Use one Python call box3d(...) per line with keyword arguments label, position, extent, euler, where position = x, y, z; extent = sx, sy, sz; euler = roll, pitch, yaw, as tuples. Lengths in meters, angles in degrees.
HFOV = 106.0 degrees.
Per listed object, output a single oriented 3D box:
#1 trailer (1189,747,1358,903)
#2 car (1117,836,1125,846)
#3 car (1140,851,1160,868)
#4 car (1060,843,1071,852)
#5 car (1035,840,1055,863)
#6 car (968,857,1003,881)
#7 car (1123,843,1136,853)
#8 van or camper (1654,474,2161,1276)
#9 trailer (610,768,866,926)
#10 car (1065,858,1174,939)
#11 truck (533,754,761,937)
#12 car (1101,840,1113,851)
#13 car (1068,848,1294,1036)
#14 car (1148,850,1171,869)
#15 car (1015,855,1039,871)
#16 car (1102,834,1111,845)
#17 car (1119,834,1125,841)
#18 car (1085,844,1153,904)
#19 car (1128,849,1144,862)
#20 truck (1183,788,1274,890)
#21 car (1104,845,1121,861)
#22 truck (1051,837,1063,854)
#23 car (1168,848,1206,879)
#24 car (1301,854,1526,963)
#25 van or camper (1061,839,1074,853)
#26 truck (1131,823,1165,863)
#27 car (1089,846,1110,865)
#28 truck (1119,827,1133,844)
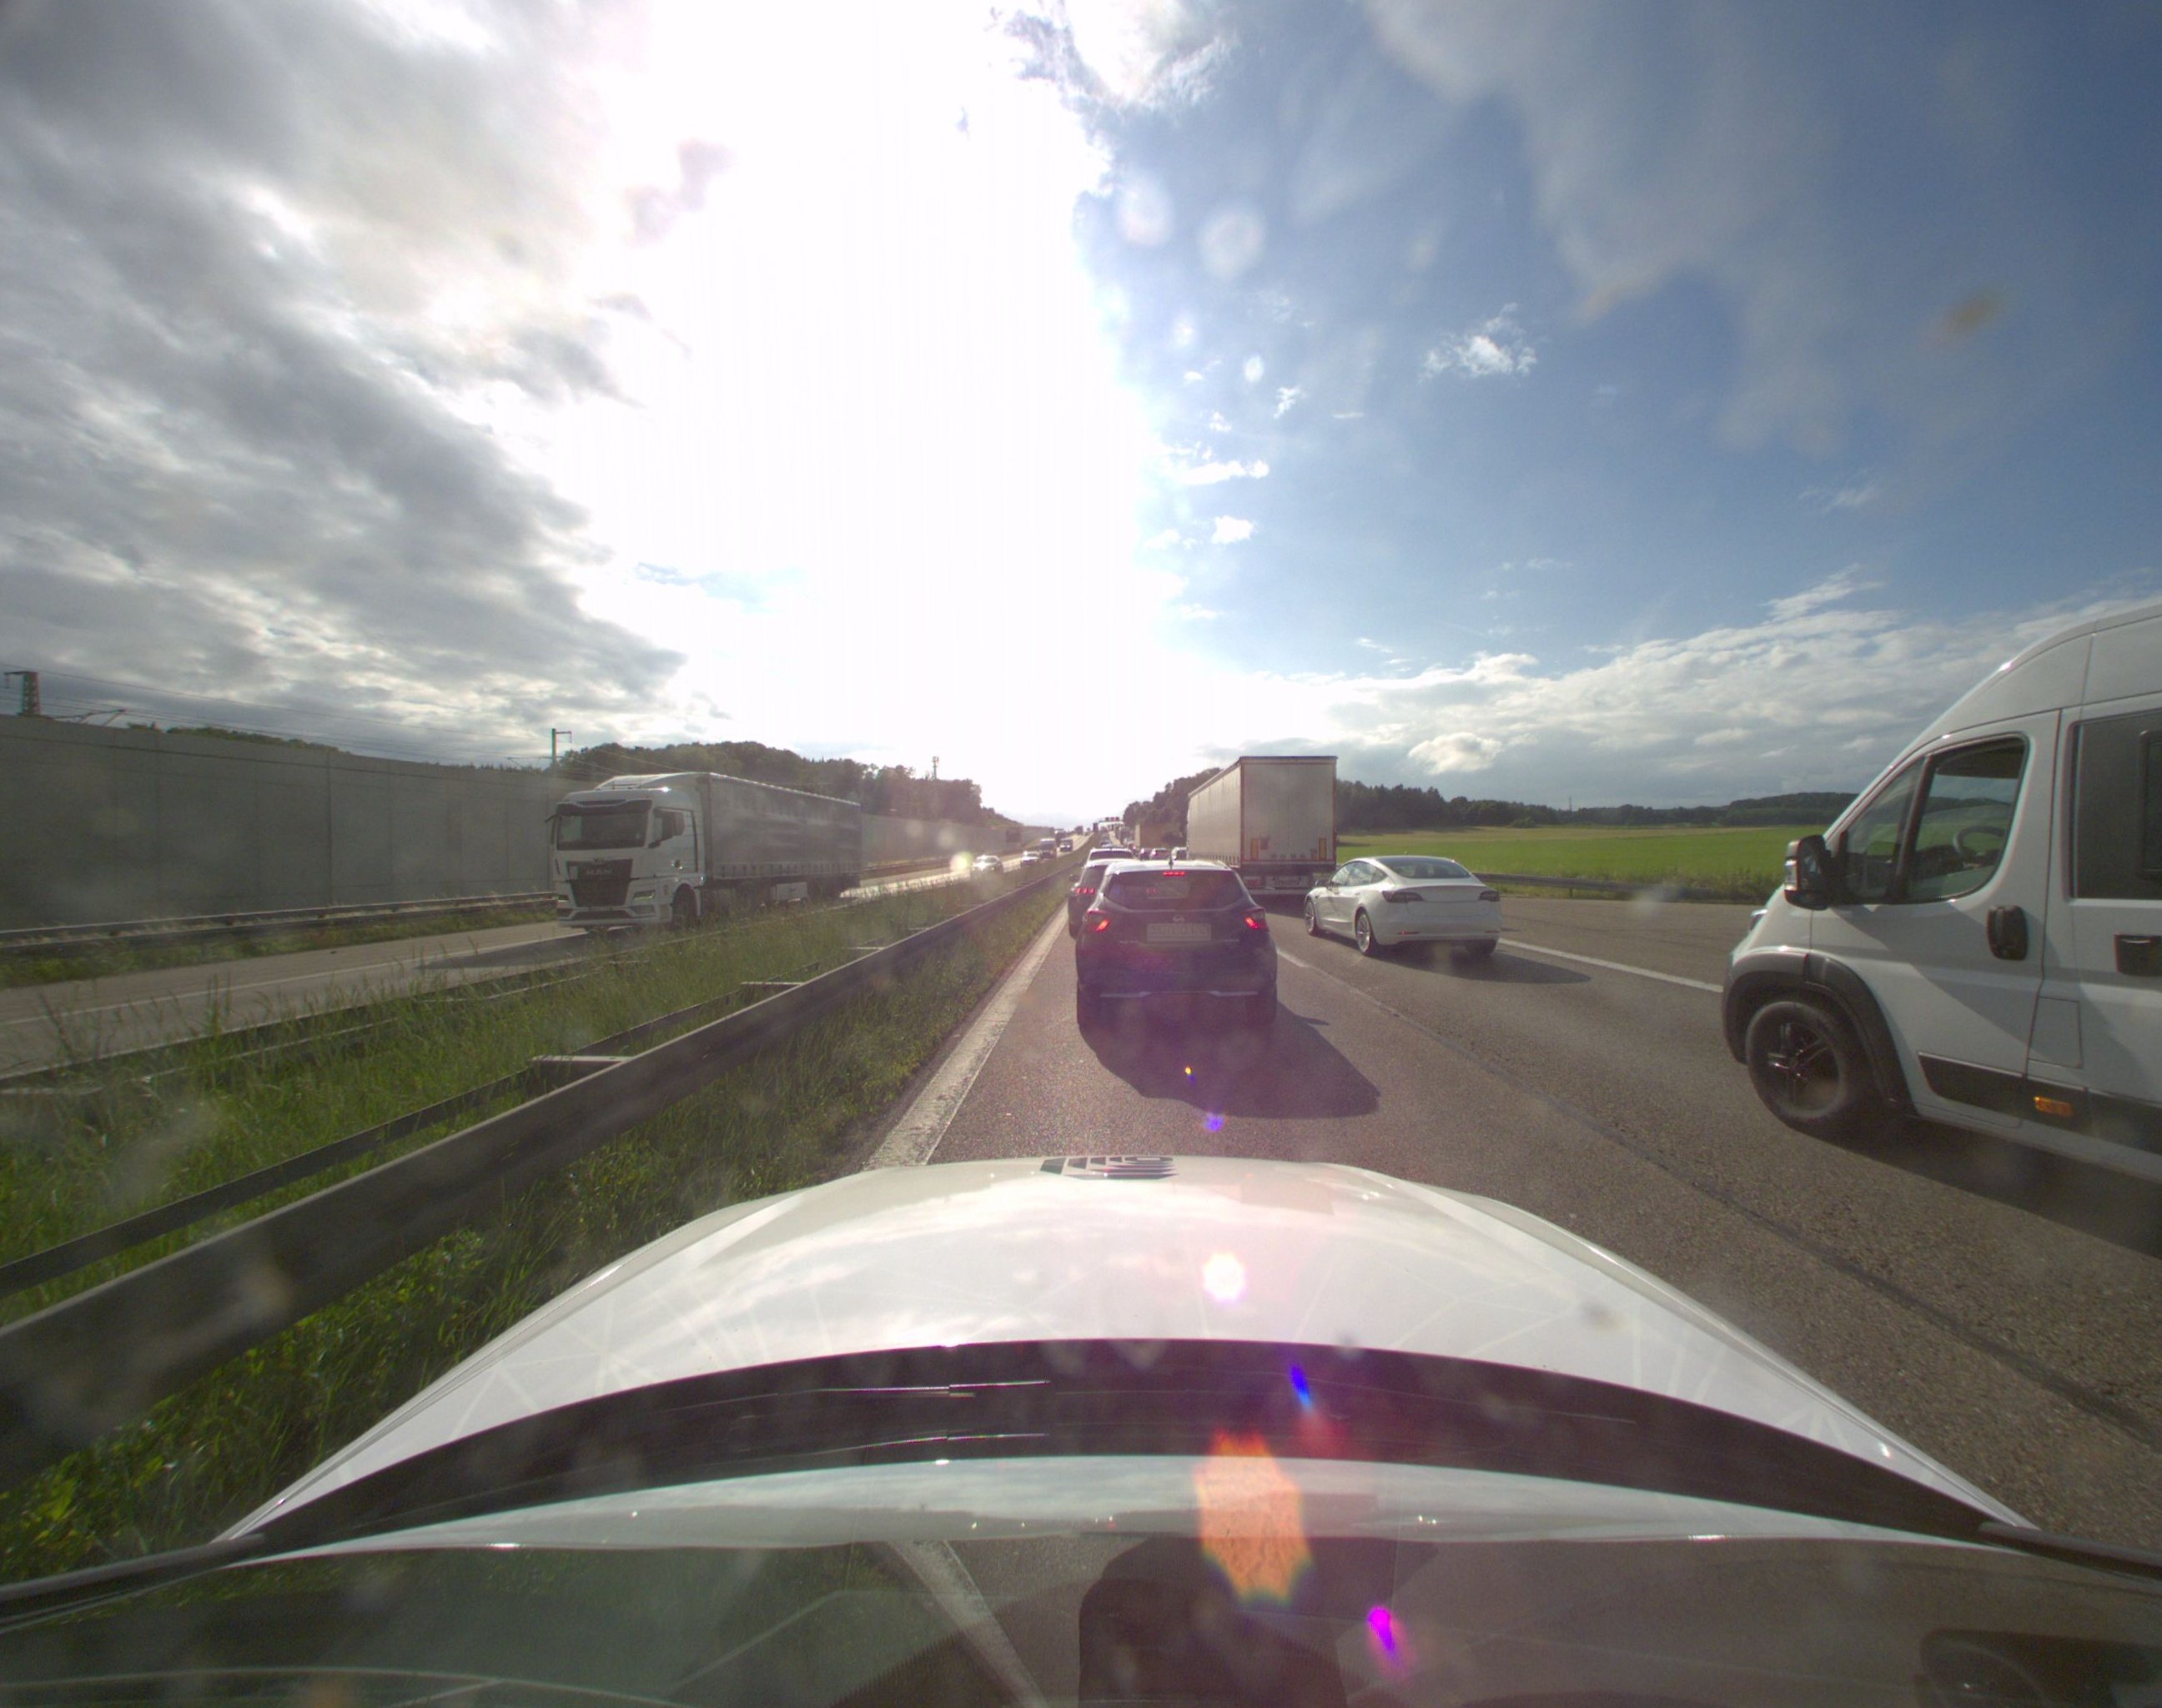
box3d(label="trailer", position=(5.859, -0.630, 27.803), extent=(3.118, 4.011, 13.373), euler=(-1, -1, 2))
box3d(label="car", position=(9.863, -3.274, 200.947), extent=(1.866, 2.158, 5.214), euler=(-1, 3, 2))
box3d(label="car", position=(7.428, 0.582, 88.059), extent=(1.866, 1.644, 4.234), euler=(-1, 0, 2))
box3d(label="car", position=(-2.894, -1.316, 154.272), extent=(1.903, 1.671, 4.363), euler=(-1, 1, 1))
box3d(label="car", position=(-4.565, -0.308, 103.874), extent=(2.096, 2.870, 5.637), euler=(-1, 0, 1))
box3d(label="car", position=(-6.148, 0.969, 52.774), extent=(1.646, 1.451, 3.957), euler=(-1, 0, 1))
box3d(label="car", position=(8.596, -1.146, 143.835), extent=(1.868, 1.644, 4.230), euler=(-1, 1, -1))
box3d(label="van or camper", position=(4.696, 0.053, 1.976), extent=(2.207, 2.681, 6.334), euler=(-1, 0, 1))
box3d(label="trailer", position=(-10.946, -0.162, 28.512), extent=(2.780, 4.077, 13.523), euler=(-3, 0, 1))
box3d(label="car", position=(0.741, 0.774, 16.206), extent=(1.866, 1.358, 4.234), euler=(-1, 0, 2))
box3d(label="truck", position=(-11.127, -0.194, 21.582), extent=(2.766, 4.088, 5.533), euler=(-3, 0, 1))
box3d(label="car", position=(4.252, -1.448, 133.283), extent=(1.867, 1.644, 4.233), euler=(-1, 1, 1))
box3d(label="car", position=(0.869, 0.710, 8.604), extent=(1.766, 1.451, 4.234), euler=(-1, 0, 2))
box3d(label="car", position=(7.552, 0.489, 78.612), extent=(1.866, 1.644, 4.234), euler=(-1, 1, 2))
box3d(label="car", position=(-5.165, 0.888, 78.276), extent=(1.866, 1.451, 4.234), euler=(-1, 0, 2))
box3d(label="car", position=(5.457, -3.110, 177.101), extent=(1.866, 2.158, 5.214), euler=(-1, 3, 2))
box3d(label="car", position=(12.899, -5.258, 255.917), extent=(1.866, 2.158, 5.214), euler=(-1, 3, 2))
box3d(label="car", position=(1.140, 0.580, 25.079), extent=(1.866, 1.644, 4.234), euler=(-1, 0, 2))
box3d(label="car", position=(7.607, 0.165, 112.353), extent=(1.867, 1.644, 4.231), euler=(-1, 0, 0))
box3d(label="truck", position=(6.159, -0.538, 34.878), extent=(3.121, 4.016, 5.166), euler=(-1, -1, 2))
box3d(label="car", position=(3.618, -0.127, 93.118), extent=(1.866, 1.644, 4.235), euler=(-1, 1, 2))
box3d(label="truck", position=(-5.871, -2.112, 201.216), extent=(2.573, 3.923, 5.724), euler=(-2, 0, 2))
box3d(label="car", position=(5.848, 0.500, 45.371), extent=(1.691, 1.610, 4.440), euler=(-1, 0, 3))
box3d(label="car", position=(4.929, 0.707, 12.839), extent=(1.782, 1.394, 4.437), euler=(-1, 0, 1))
box3d(label="van or camper", position=(-2.654, -1.531, 160.051), extent=(2.244, 2.704, 7.172), euler=(-1, 0, 1))
box3d(label="truck", position=(8.245, -1.230, 101.543), extent=(3.286, 4.577, 12.440), euler=(0, -1, 1))
box3d(label="car", position=(1.736, 0.074, 75.673), extent=(1.866, 1.644, 4.234), euler=(-1, 1, 2))
box3d(label="truck", position=(12.462, -5.139, 226.471), extent=(3.452, 4.576, 12.442), euler=(0, 1, 1))
